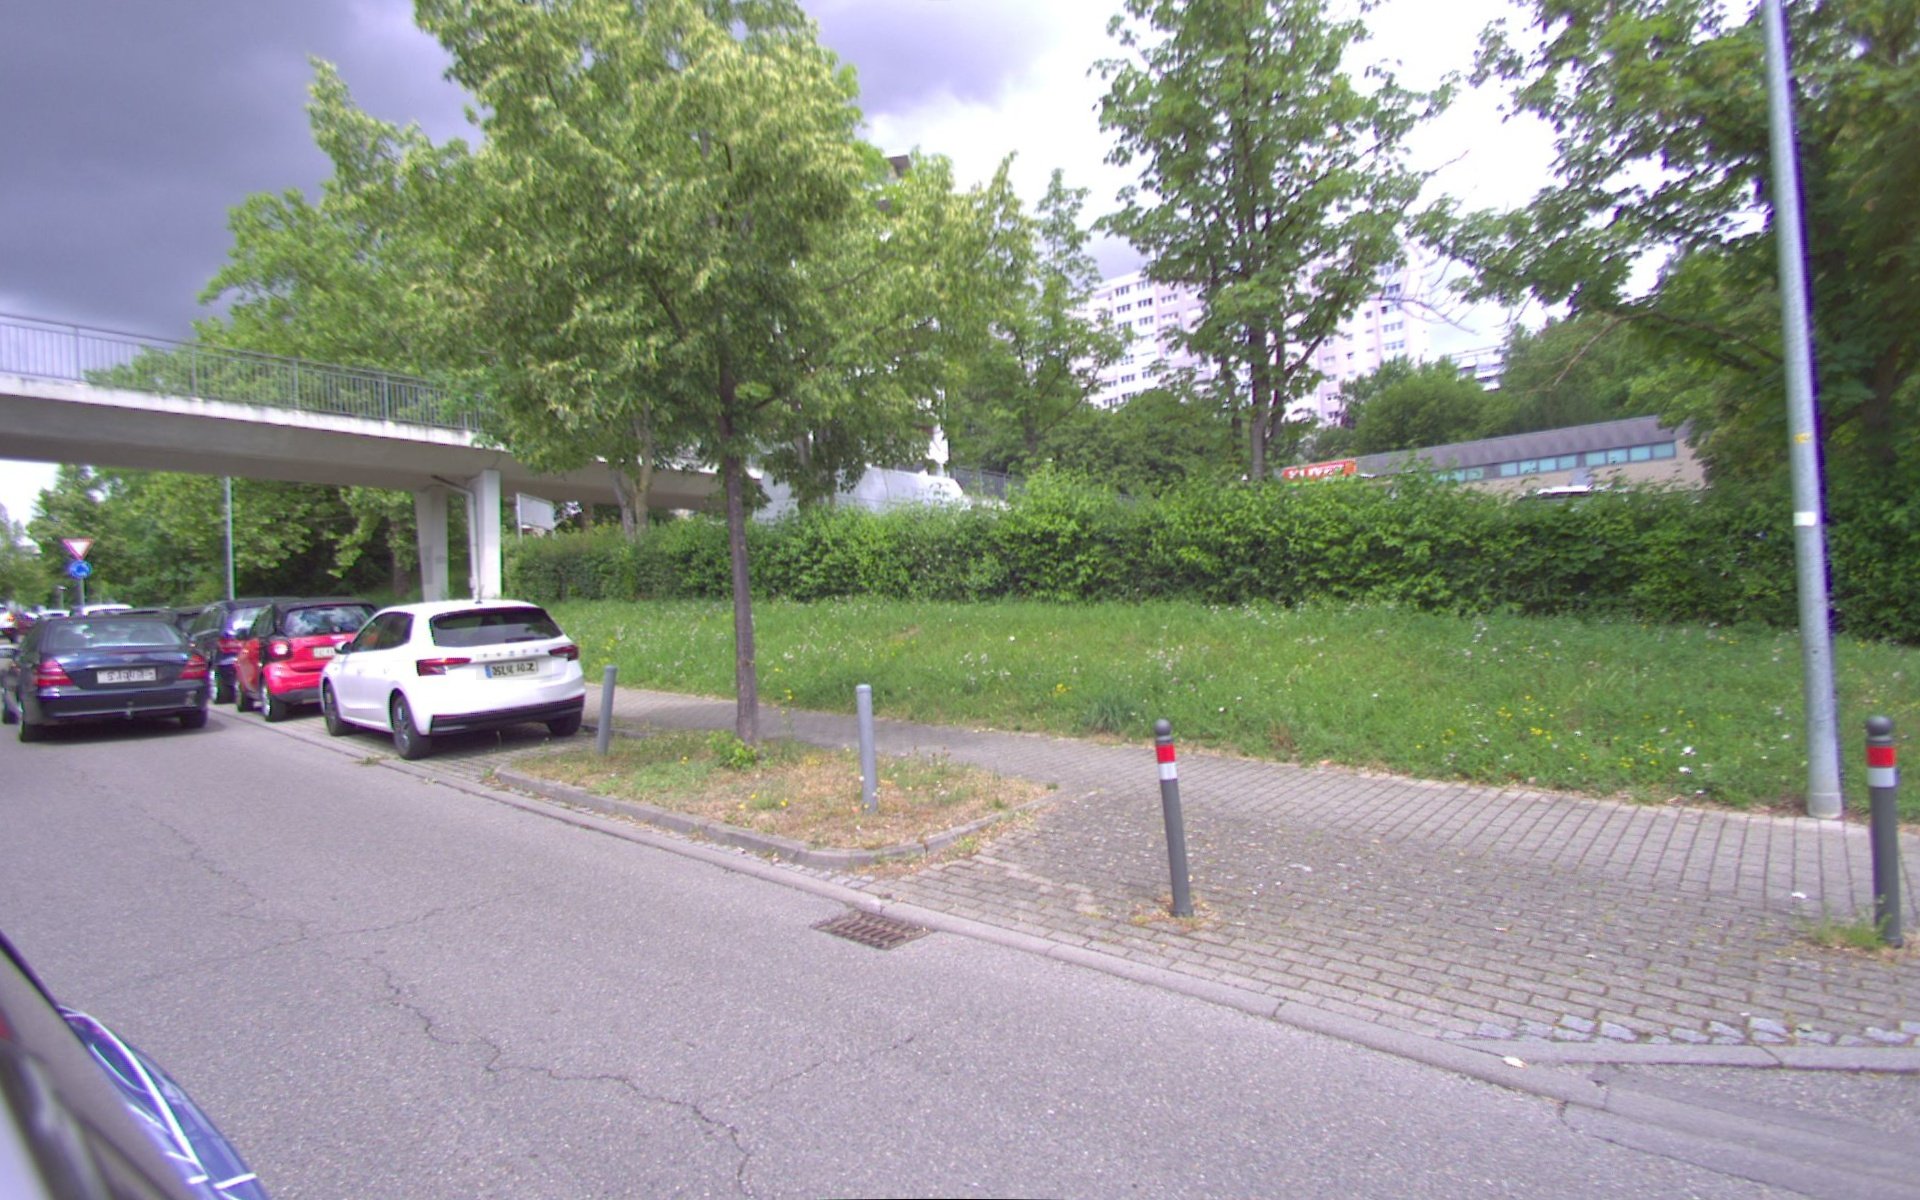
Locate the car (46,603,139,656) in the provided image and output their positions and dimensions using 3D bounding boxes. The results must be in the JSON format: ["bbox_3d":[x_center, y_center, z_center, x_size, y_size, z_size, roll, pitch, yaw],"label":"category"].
[{"bbox_3d":[-27.648,0.890,32.218,3.721,1.582,1.789,0,0,42],"label":"car"}]

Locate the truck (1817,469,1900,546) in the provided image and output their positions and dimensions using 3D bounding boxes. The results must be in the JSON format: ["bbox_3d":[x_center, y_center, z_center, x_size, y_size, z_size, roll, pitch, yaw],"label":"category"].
[{"bbox_3d":[48.111,-4.881,54.341,2.575,3.720,7.248,-1,3,36],"label":"truck"}]

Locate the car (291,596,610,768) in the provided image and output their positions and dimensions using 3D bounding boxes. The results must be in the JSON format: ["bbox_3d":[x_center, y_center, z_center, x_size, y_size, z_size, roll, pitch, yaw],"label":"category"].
[{"bbox_3d":[-5.659,0.733,11.022,4.049,1.415,1.789,0,4,44],"label":"car"}]

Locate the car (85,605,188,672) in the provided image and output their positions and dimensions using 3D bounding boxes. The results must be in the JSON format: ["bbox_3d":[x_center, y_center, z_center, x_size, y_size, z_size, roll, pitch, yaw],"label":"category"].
[{"bbox_3d":[-21.339,0.923,26.184,1.787,1.466,3.865,-5,3,-42],"label":"car"}]

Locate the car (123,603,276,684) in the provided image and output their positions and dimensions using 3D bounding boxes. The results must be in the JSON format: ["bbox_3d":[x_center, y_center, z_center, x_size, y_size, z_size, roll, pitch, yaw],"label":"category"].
[{"bbox_3d":[-16.433,0.855,21.787,4.486,1.491,1.789,0,2,43],"label":"car"}]

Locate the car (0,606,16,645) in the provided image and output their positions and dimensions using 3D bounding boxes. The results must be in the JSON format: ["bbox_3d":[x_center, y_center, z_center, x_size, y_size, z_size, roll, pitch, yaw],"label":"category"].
[{"bbox_3d":[-40.278,1.044,41.646,3.721,1.582,1.789,0,0,42],"label":"car"}]

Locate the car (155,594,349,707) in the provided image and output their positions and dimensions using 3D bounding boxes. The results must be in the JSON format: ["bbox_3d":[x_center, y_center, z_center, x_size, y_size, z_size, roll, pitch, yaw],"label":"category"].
[{"bbox_3d":[-11.955,0.764,16.995,3.985,1.596,1.789,-1,2,43],"label":"car"}]

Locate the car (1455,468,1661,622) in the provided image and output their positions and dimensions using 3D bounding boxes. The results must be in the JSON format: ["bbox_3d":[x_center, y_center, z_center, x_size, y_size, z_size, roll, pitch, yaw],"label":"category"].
[{"bbox_3d":[8.744,-0.872,14.636,1.998,1.872,3.950,0,6,39],"label":"car"}]

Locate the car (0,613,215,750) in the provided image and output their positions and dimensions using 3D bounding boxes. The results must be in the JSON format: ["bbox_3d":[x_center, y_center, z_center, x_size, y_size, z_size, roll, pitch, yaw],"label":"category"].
[{"bbox_3d":[-10.979,0.899,12.840,4.368,1.430,1.732,-1,-1,44],"label":"car"}]

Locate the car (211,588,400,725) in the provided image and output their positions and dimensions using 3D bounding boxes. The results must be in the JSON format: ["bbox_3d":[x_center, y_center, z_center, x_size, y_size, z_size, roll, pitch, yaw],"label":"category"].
[{"bbox_3d":[-9.111,0.698,14.034,1.576,1.596,2.687,-6,4,-45],"label":"car"}]

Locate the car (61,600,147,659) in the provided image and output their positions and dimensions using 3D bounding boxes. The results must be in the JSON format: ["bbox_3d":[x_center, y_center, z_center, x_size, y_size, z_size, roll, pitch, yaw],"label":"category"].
[{"bbox_3d":[-25.045,0.809,29.571,1.786,1.582,3.726,-1,0,-42],"label":"car"}]
